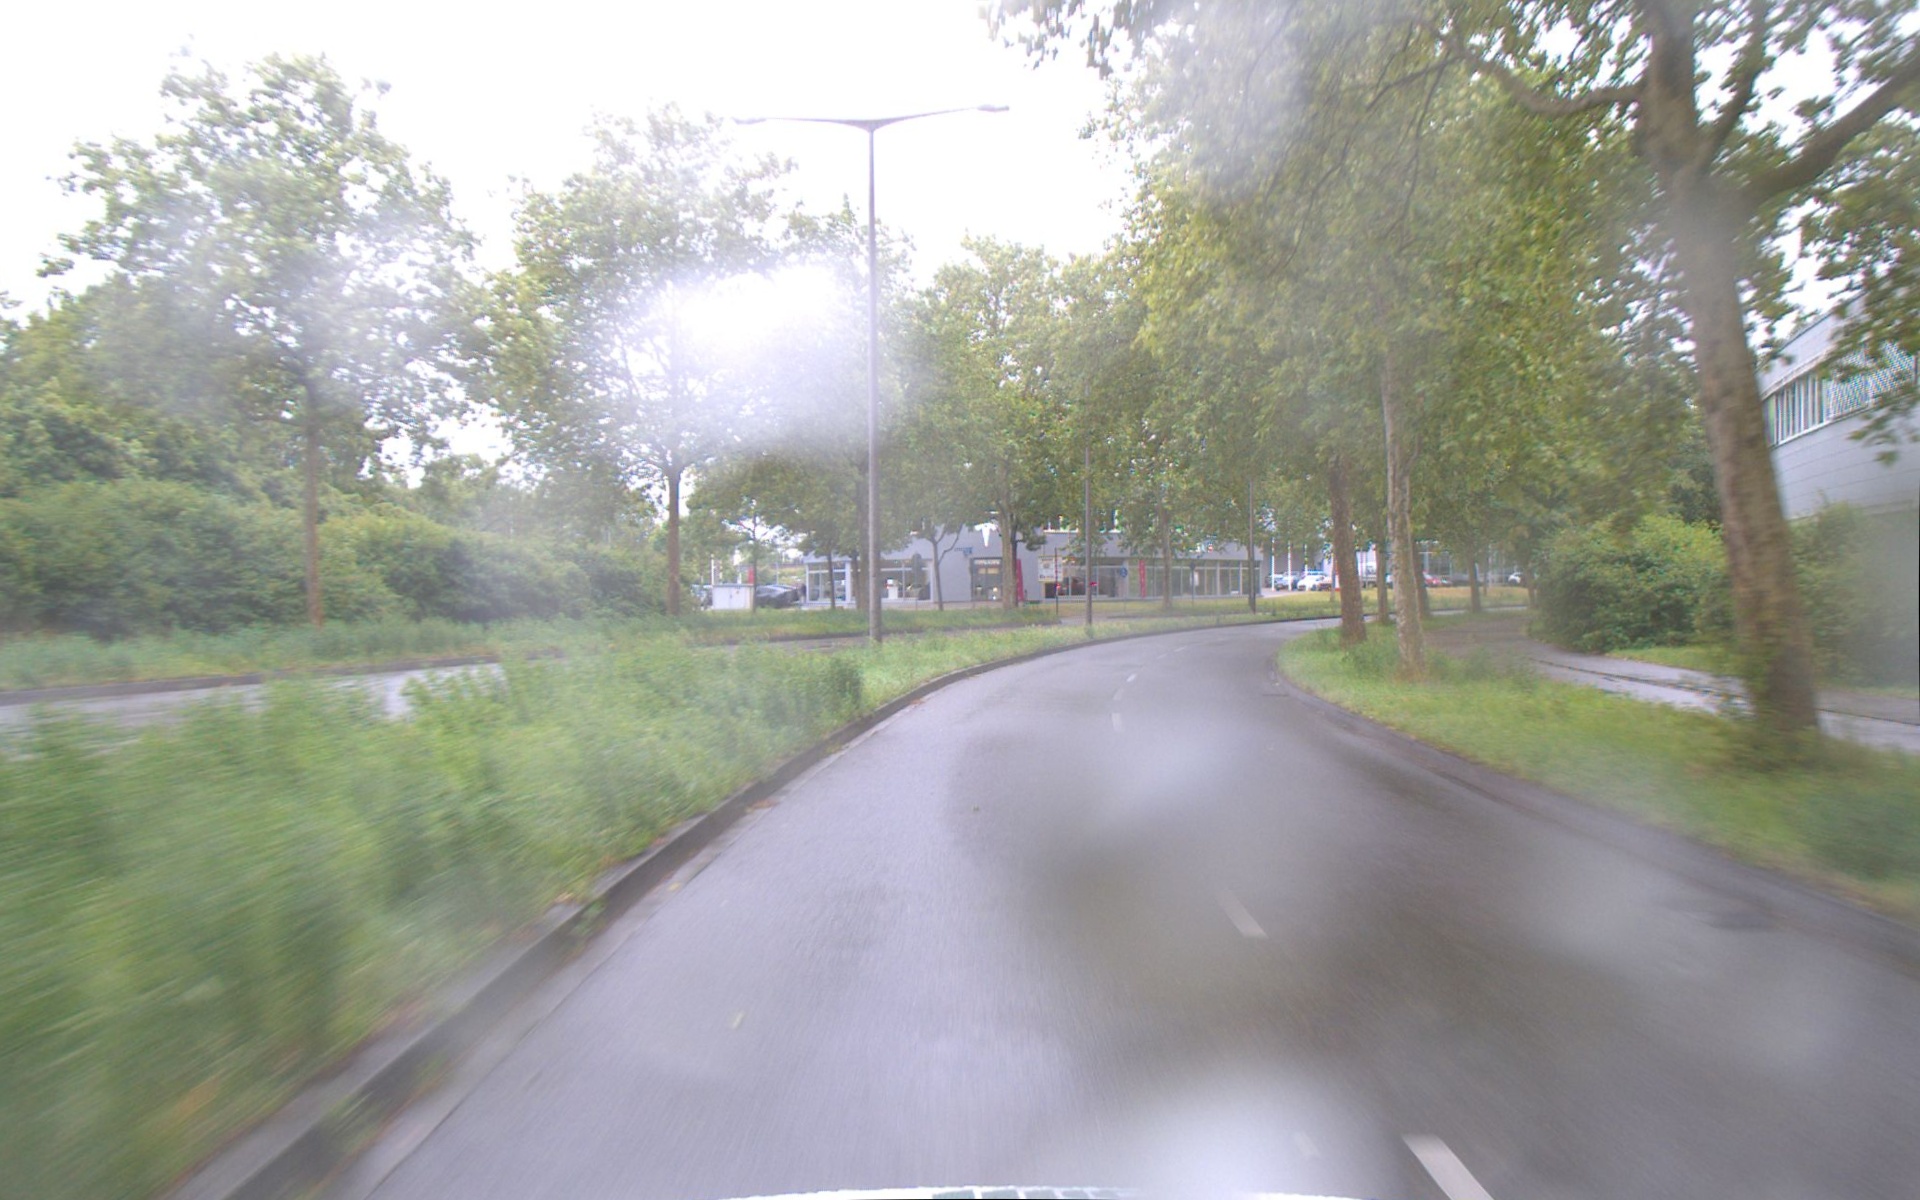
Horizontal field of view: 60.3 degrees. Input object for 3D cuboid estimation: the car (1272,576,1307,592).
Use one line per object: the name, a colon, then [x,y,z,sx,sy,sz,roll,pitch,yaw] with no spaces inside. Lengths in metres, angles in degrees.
car: [33.095,-1.662,165.995,1.735,1.421,4.138,2,4,38]

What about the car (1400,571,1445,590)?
car: [46.548,-1.971,166.522,1.834,1.583,3.944,-3,5,-45]

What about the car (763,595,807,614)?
car: [-14.109,0.355,133.605,3.235,1.520,1.599,0,0,9]

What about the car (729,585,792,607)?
car: [-14.019,-0.314,116.057,4.101,1.520,1.599,0,0,9]

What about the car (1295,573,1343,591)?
car: [37.737,-1.945,173.896,4.549,1.795,1.819,1,2,-7]

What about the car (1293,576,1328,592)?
car: [34.883,-1.627,164.514,1.735,1.421,4.138,2,4,38]

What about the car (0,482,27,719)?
car: [-11.460,0.039,14.631,2.230,2.469,6.365,-1,0,7]
